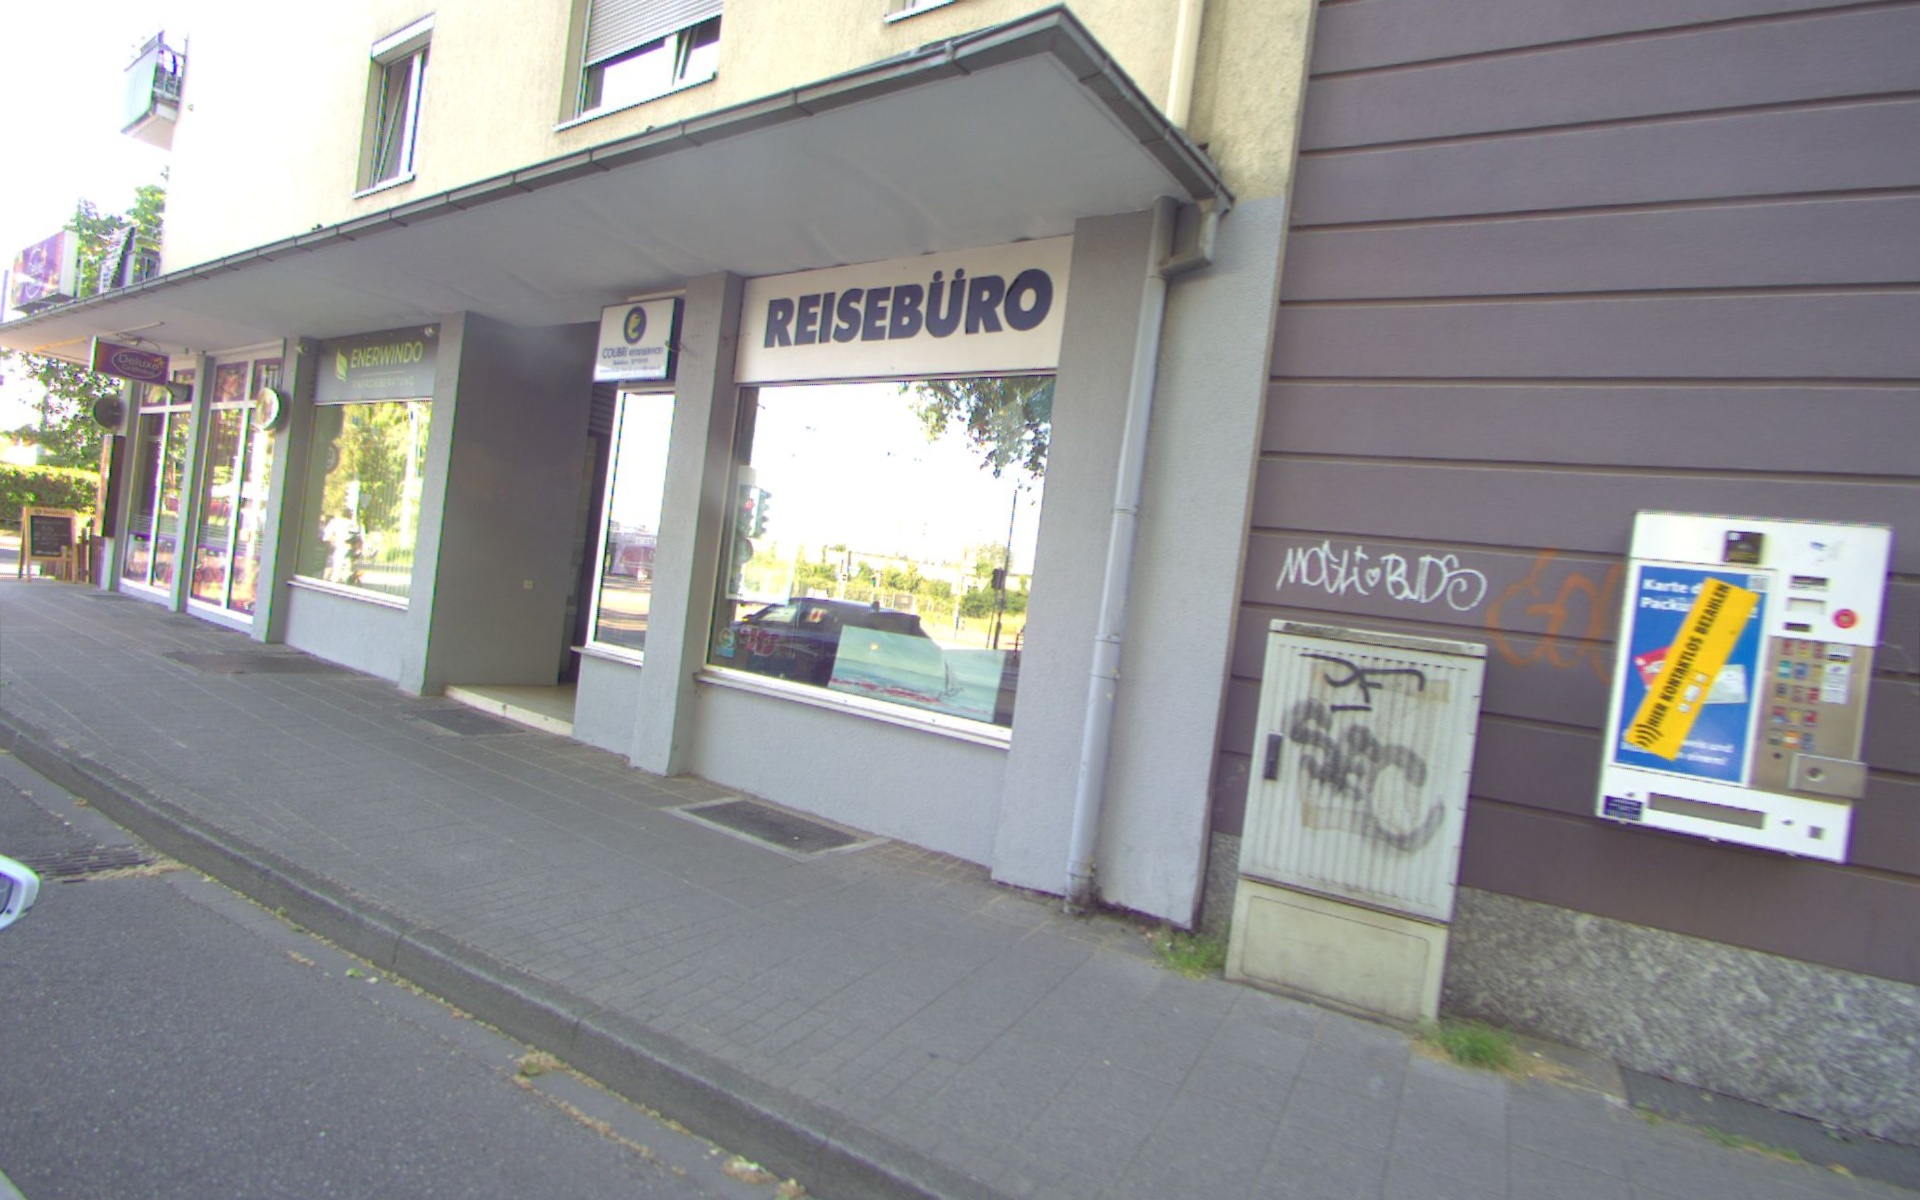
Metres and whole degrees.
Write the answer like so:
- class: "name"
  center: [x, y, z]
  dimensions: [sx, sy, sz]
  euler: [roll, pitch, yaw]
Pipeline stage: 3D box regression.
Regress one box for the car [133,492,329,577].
- class: "car"
  center: [-20.872, -1.818, 28.944]
  dimensions: [1.781, 1.835, 4.172]
  euler: [3, -3, 40]
